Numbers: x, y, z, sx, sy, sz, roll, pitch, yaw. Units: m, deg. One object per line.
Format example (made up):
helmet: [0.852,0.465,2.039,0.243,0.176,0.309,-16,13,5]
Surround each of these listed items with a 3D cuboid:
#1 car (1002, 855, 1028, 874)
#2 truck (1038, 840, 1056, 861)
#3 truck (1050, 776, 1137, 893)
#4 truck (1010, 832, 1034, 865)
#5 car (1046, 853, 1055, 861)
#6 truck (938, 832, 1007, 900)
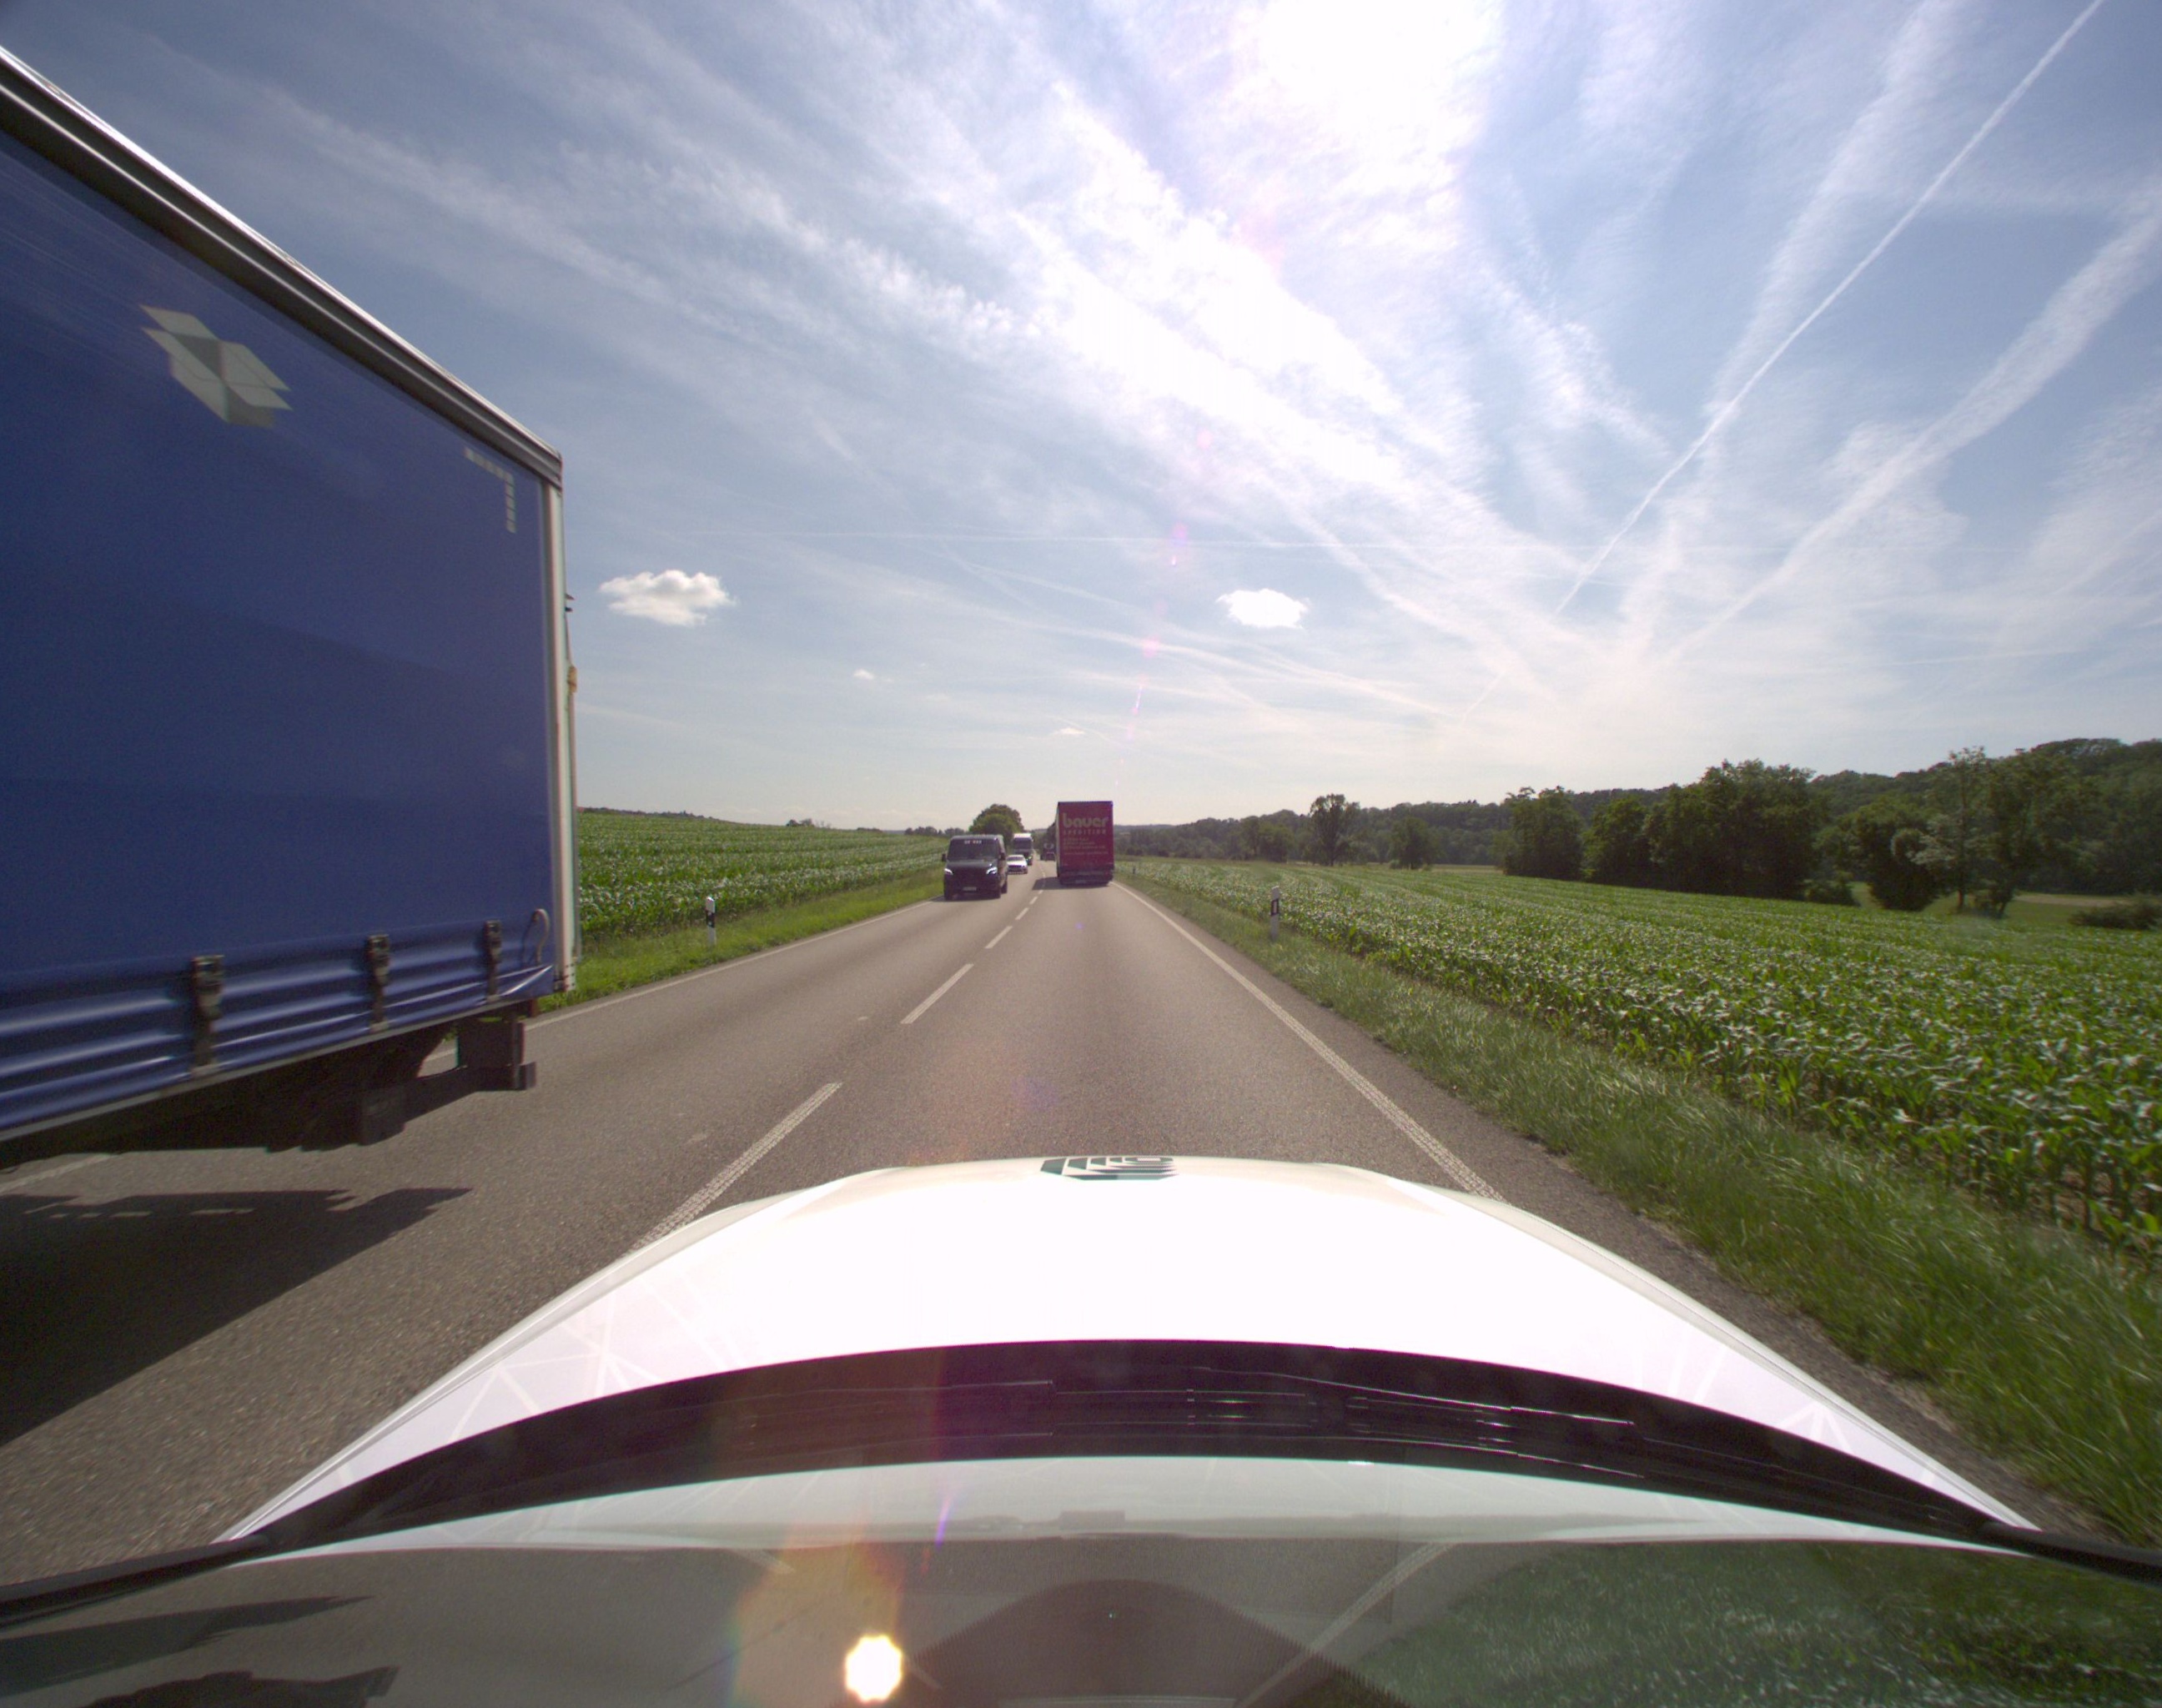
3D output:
car: [-5.118,0.794,63.487,1.723,1.440,4.174,-1,0,-2]
truck: [-7.263,-0.628,174.459,3.630,4.292,11.976,-1,-1,-2]
truck: [0.332,-0.684,34.201,3.086,4.263,8.307,-1,-1,-2]
truck: [-7.708,-0.661,108.312,2.821,3.992,16.513,-2,0,-3]
car: [-5.477,0.518,146.779,1.577,1.501,3.873,-1,0,-2]
truck: [-3.993,0.418,30.852,2.004,2.320,5.188,-1,0,-2]
